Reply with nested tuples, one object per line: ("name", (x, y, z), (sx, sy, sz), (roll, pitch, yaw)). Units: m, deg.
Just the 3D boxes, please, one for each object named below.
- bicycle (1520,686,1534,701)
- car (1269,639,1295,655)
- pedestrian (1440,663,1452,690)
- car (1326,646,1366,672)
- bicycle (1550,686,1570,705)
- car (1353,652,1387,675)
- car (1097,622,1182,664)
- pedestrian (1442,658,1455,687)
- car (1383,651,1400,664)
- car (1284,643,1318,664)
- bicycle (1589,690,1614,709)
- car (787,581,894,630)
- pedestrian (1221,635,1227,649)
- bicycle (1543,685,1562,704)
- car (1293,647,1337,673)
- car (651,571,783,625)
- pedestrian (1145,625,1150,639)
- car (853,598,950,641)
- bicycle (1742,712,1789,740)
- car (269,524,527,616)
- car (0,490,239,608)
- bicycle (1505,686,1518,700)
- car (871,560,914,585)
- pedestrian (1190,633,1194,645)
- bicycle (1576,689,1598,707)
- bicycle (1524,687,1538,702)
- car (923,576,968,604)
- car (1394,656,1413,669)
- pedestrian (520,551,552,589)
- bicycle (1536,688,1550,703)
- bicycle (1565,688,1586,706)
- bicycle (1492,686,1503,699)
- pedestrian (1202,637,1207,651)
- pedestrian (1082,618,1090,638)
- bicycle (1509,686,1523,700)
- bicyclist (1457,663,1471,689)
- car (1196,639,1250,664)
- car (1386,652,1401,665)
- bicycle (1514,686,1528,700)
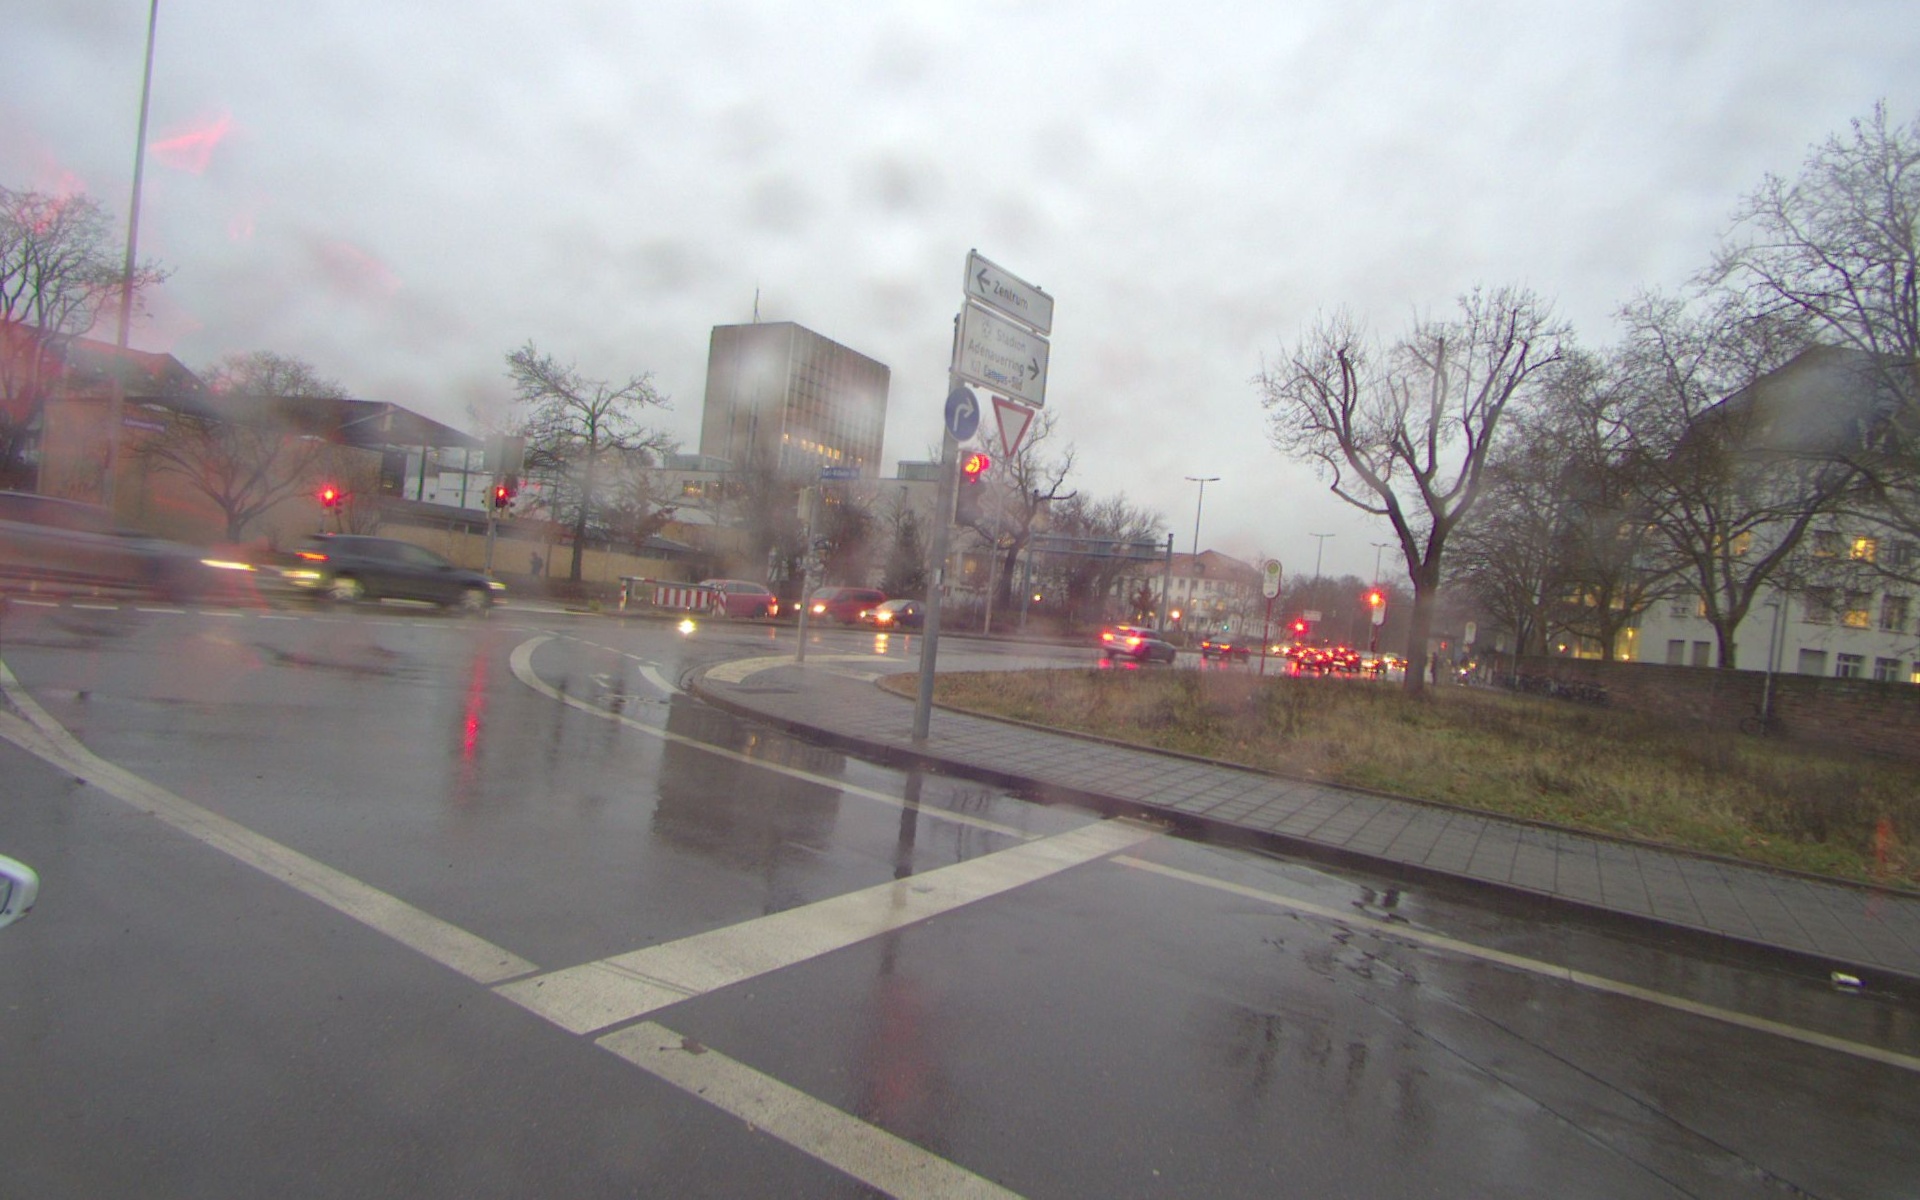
("bicycle", (33.327, 5.491, 59.150), (0.387, 0.795, 1.532), (7, -2, 20))
("car", (37.737, 5.570, 117.940), (1.811, 1.602, 4.127), (6, 0, 31))
("pedestrian", (30.156, 4.737, 62.424), (0.462, 1.623, 0.486), (7, -1, 25))
("car", (29.731, 4.551, 77.440), (1.812, 1.710, 4.311), (6, -1, 34))
("bicycle", (31.360, 4.983, 52.562), (0.387, 0.868, 1.532), (7, -2, 15))
("car", (34.246, 5.289, 83.975), (1.811, 1.710, 4.311), (6, 0, 32))
("car", (8.162, 1.954, 45.419), (1.908, 1.571, 4.684), (6, 0, 35))
("pedestrian", (35.052, 5.204, 72.234), (0.557, 2.040, 0.595), (8, 2, 33))
("car", (66.651, 8.878, 155.301), (1.965, 1.783, 3.993), (7, 1, 27))
("car", (30.144, 4.713, 88.900), (1.811, 1.602, 4.127), (6, 0, 32))
("bicycle", (30.278, 4.676, 47.482), (0.352, 0.795, 1.415), (7, -2, 8))
("car", (-5.708, 0.319, 48.695), (2.016, 1.903, 5.320), (6, 0, 35))
("pedestrian", (32.980, 5.257, 125.673), (0.404, 1.713, 0.561), (7, 2, 28))
("bicycle", (31.846, 5.078, 54.093), (0.387, 0.927, 1.532), (7, -2, 15))
("car", (25.276, 4.256, 71.493), (1.812, 1.602, 4.124), (6, 0, 35))
("car", (-8.678, -0.034, 36.262), (1.784, 1.496, 4.411), (6, 0, 37))
("pedestrian", (19.004, 3.234, 101.971), (0.258, 1.364, 0.289), (8, 2, 31))
("car", (-2.519, 0.891, 44.548), (1.784, 1.496, 4.411), (6, 0, 37))
("bicycle", (28.204, 4.402, 35.231), (0.387, 0.834, 1.386), (7, -2, -4))
("car", (-12.212, -0.604, 22.096), (1.787, 1.496, 4.567), (6, 0, 43))
("car", (-14.060, -0.849, 15.408), (1.786, 1.496, 4.568), (6, 0, 42))
("bicycle", (34.855, 5.870, 63.631), (0.387, 0.795, 1.532), (7, -2, 20))
("car", (-7.088, -2.911, 106.477), (2.014, 2.102, 4.892), (6, 0, 30))
("pedestrian", (27.552, 4.677, 119.642), (0.258, 1.364, 0.289), (8, 2, 31))
("bicycle", (30.552, 4.772, 49.006), (0.387, 0.795, 1.533), (7, -2, 14))
("bicycle", (32.845, 5.408, 57.872), (0.387, 0.795, 1.532), (7, -2, 19))
("car", (-1.435, -0.997, 103.059), (2.014, 2.452, 5.326), (6, 0, 30))
("car", (55.497, 7.787, 125.946), (1.620, 1.346, 3.671), (7, 1, 31))
("pedestrian", (-19.641, -1.391, 46.605), (0.782, 1.624, 0.961), (8, 2, 36))
("bicycle", (32.417, 5.294, 55.958), (0.387, 0.795, 1.607), (7, -2, 22))
("bicycle", (31.042, 4.879, 50.750), (0.343, 0.848, 1.493), (7, -2, 13))
("bicycle", (36.396, 6.251, 68.112), (0.387, 0.795, 1.532), (7, -2, 20))
("pedestrian", (30.033, 5.376, 123.631), (0.404, 1.713, 0.427), (7, 2, 28))
("pedestrian", (11.593, 2.572, 92.463), (0.411, 1.725, 0.430), (8, 3, 44))
("bicycle", (34.354, 5.745, 62.157), (0.387, 0.795, 1.532), (7, -2, 20))
("bicyclist", (33.464, 5.038, 66.750), (0.599, 1.660, 0.453), (7, -1, 19))
("car", (16.766, 3.299, 63.997), (1.907, 1.318, 4.686), (6, 0, 33))
("car", (69.851, 9.392, 161.988), (1.834, 1.783, 3.993), (7, 1, 27))
("bicycle", (33.833, 5.618, 60.669), (0.387, 0.795, 1.532), (7, -2, 20))
